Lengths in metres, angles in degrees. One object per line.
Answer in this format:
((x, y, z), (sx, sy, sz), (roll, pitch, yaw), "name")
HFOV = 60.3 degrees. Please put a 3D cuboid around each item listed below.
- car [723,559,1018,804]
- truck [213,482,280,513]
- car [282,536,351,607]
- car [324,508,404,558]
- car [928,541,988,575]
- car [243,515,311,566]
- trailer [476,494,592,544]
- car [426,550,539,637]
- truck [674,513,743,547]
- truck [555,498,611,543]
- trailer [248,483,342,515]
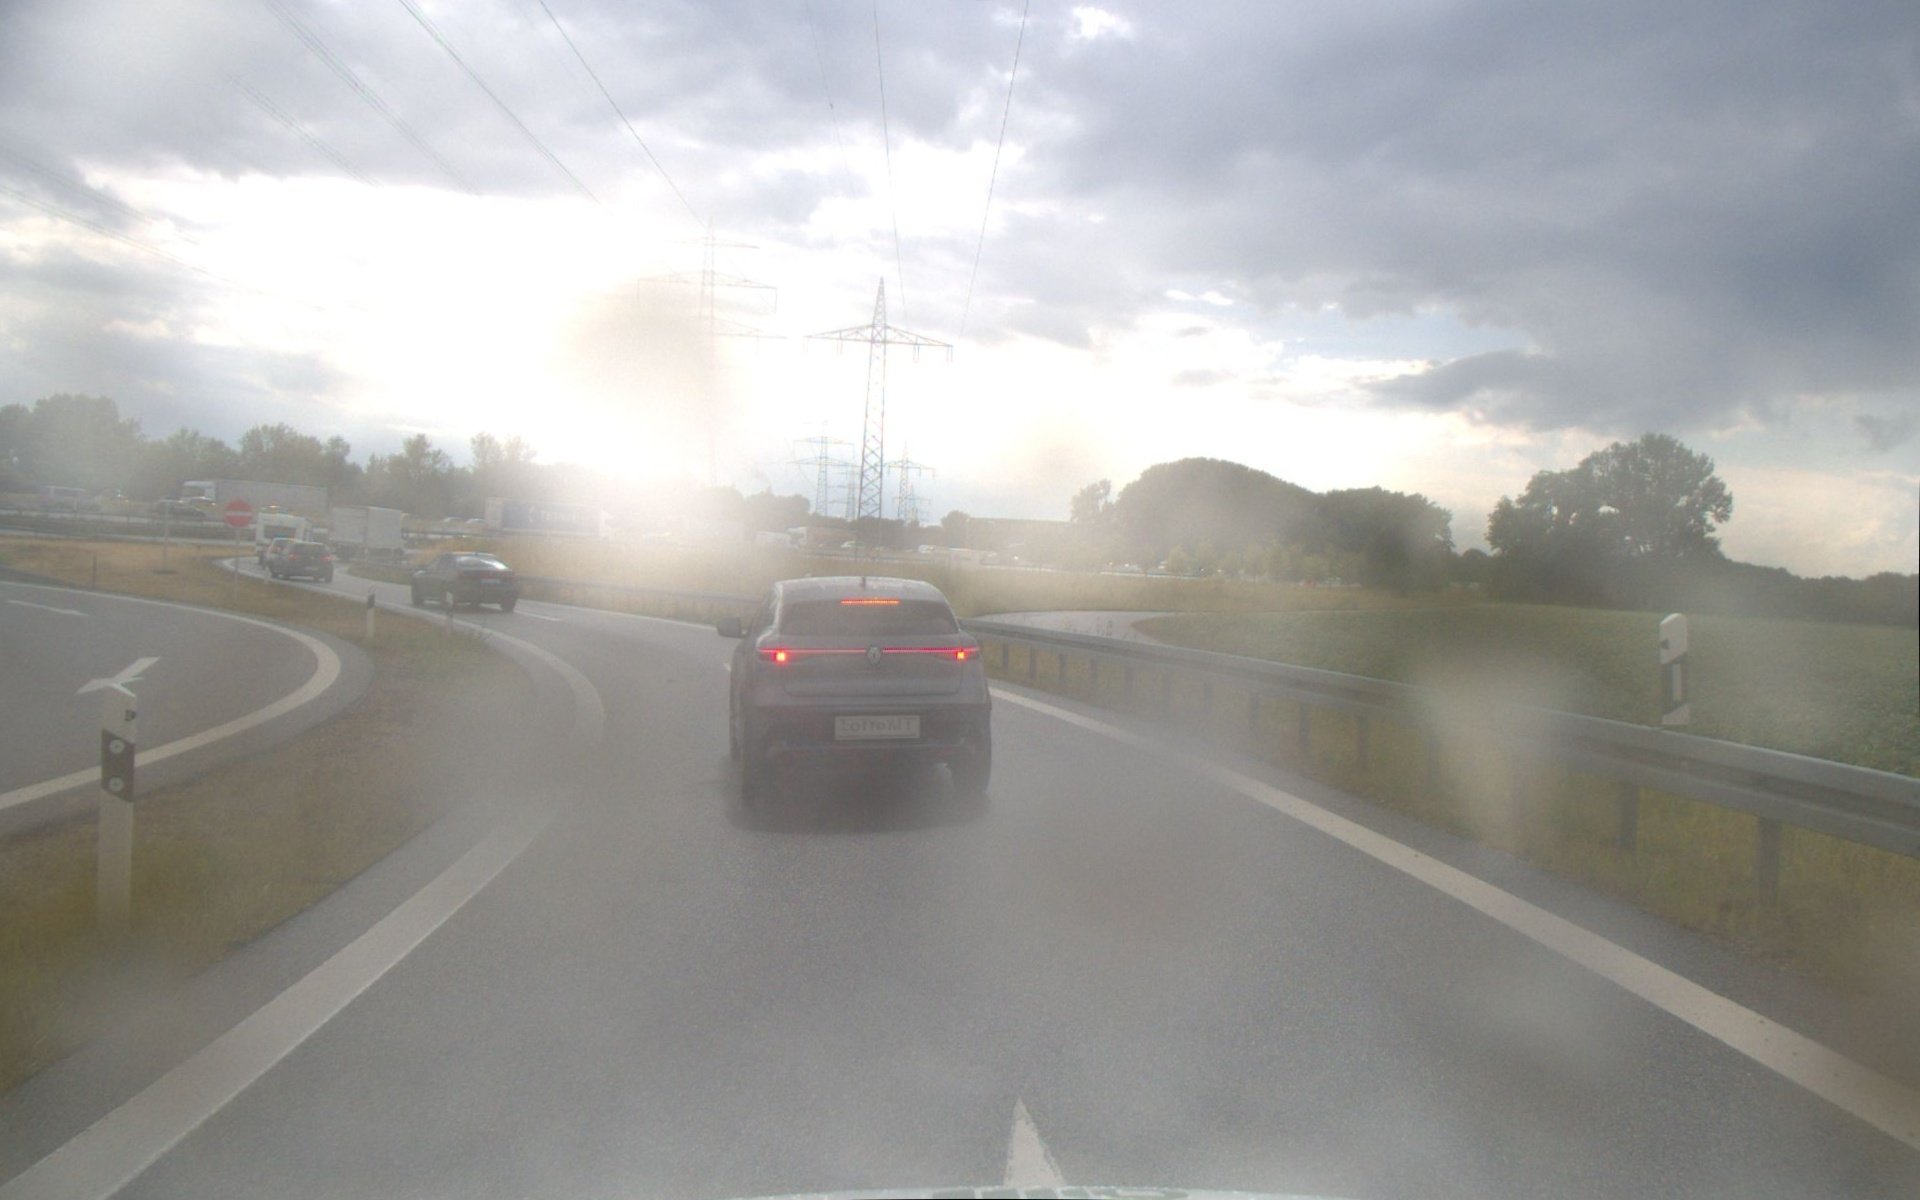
((-0.868, 0.485, 13.110), (1.956, 1.593, 4.142), (-1, 1, -8), "car")
((-76.560, -10.975, 177.536), (2.270, 3.078, 6.456), (5, 4, 30), "truck")
((-24.586, -1.133, 63.362), (2.317, 2.346, 5.100), (2, 3, -20), "car")
((-39.446, -4.504, 109.659), (3.074, 3.001, 7.205), (3, 3, -4), "car")
((-0.189, -5.195, 205.142), (3.321, 3.673, 9.027), (4, 1, 30), "car")
((-35.656, -3.143, 86.263), (2.330, 2.346, 5.072), (1, 4, -33), "car")
((-43.655, -8.276, 170.205), (2.992, 4.714, 13.279), (4, 4, 29), "trailer")
((-13.284, -0.230, 45.778), (2.094, 2.052, 5.491), (3, 1, -25), "car")
((-35.908, -10.009, 236.998), (1.958, 4.194, 12.467), (4, 1, 31), "truck")
((-40.161, -8.413, 176.272), (3.013, 4.556, 5.063), (5, 3, 30), "truck")
((-73.425, -11.112, 182.911), (2.270, 3.078, 10.464), (5, 4, 30), "trailer")
